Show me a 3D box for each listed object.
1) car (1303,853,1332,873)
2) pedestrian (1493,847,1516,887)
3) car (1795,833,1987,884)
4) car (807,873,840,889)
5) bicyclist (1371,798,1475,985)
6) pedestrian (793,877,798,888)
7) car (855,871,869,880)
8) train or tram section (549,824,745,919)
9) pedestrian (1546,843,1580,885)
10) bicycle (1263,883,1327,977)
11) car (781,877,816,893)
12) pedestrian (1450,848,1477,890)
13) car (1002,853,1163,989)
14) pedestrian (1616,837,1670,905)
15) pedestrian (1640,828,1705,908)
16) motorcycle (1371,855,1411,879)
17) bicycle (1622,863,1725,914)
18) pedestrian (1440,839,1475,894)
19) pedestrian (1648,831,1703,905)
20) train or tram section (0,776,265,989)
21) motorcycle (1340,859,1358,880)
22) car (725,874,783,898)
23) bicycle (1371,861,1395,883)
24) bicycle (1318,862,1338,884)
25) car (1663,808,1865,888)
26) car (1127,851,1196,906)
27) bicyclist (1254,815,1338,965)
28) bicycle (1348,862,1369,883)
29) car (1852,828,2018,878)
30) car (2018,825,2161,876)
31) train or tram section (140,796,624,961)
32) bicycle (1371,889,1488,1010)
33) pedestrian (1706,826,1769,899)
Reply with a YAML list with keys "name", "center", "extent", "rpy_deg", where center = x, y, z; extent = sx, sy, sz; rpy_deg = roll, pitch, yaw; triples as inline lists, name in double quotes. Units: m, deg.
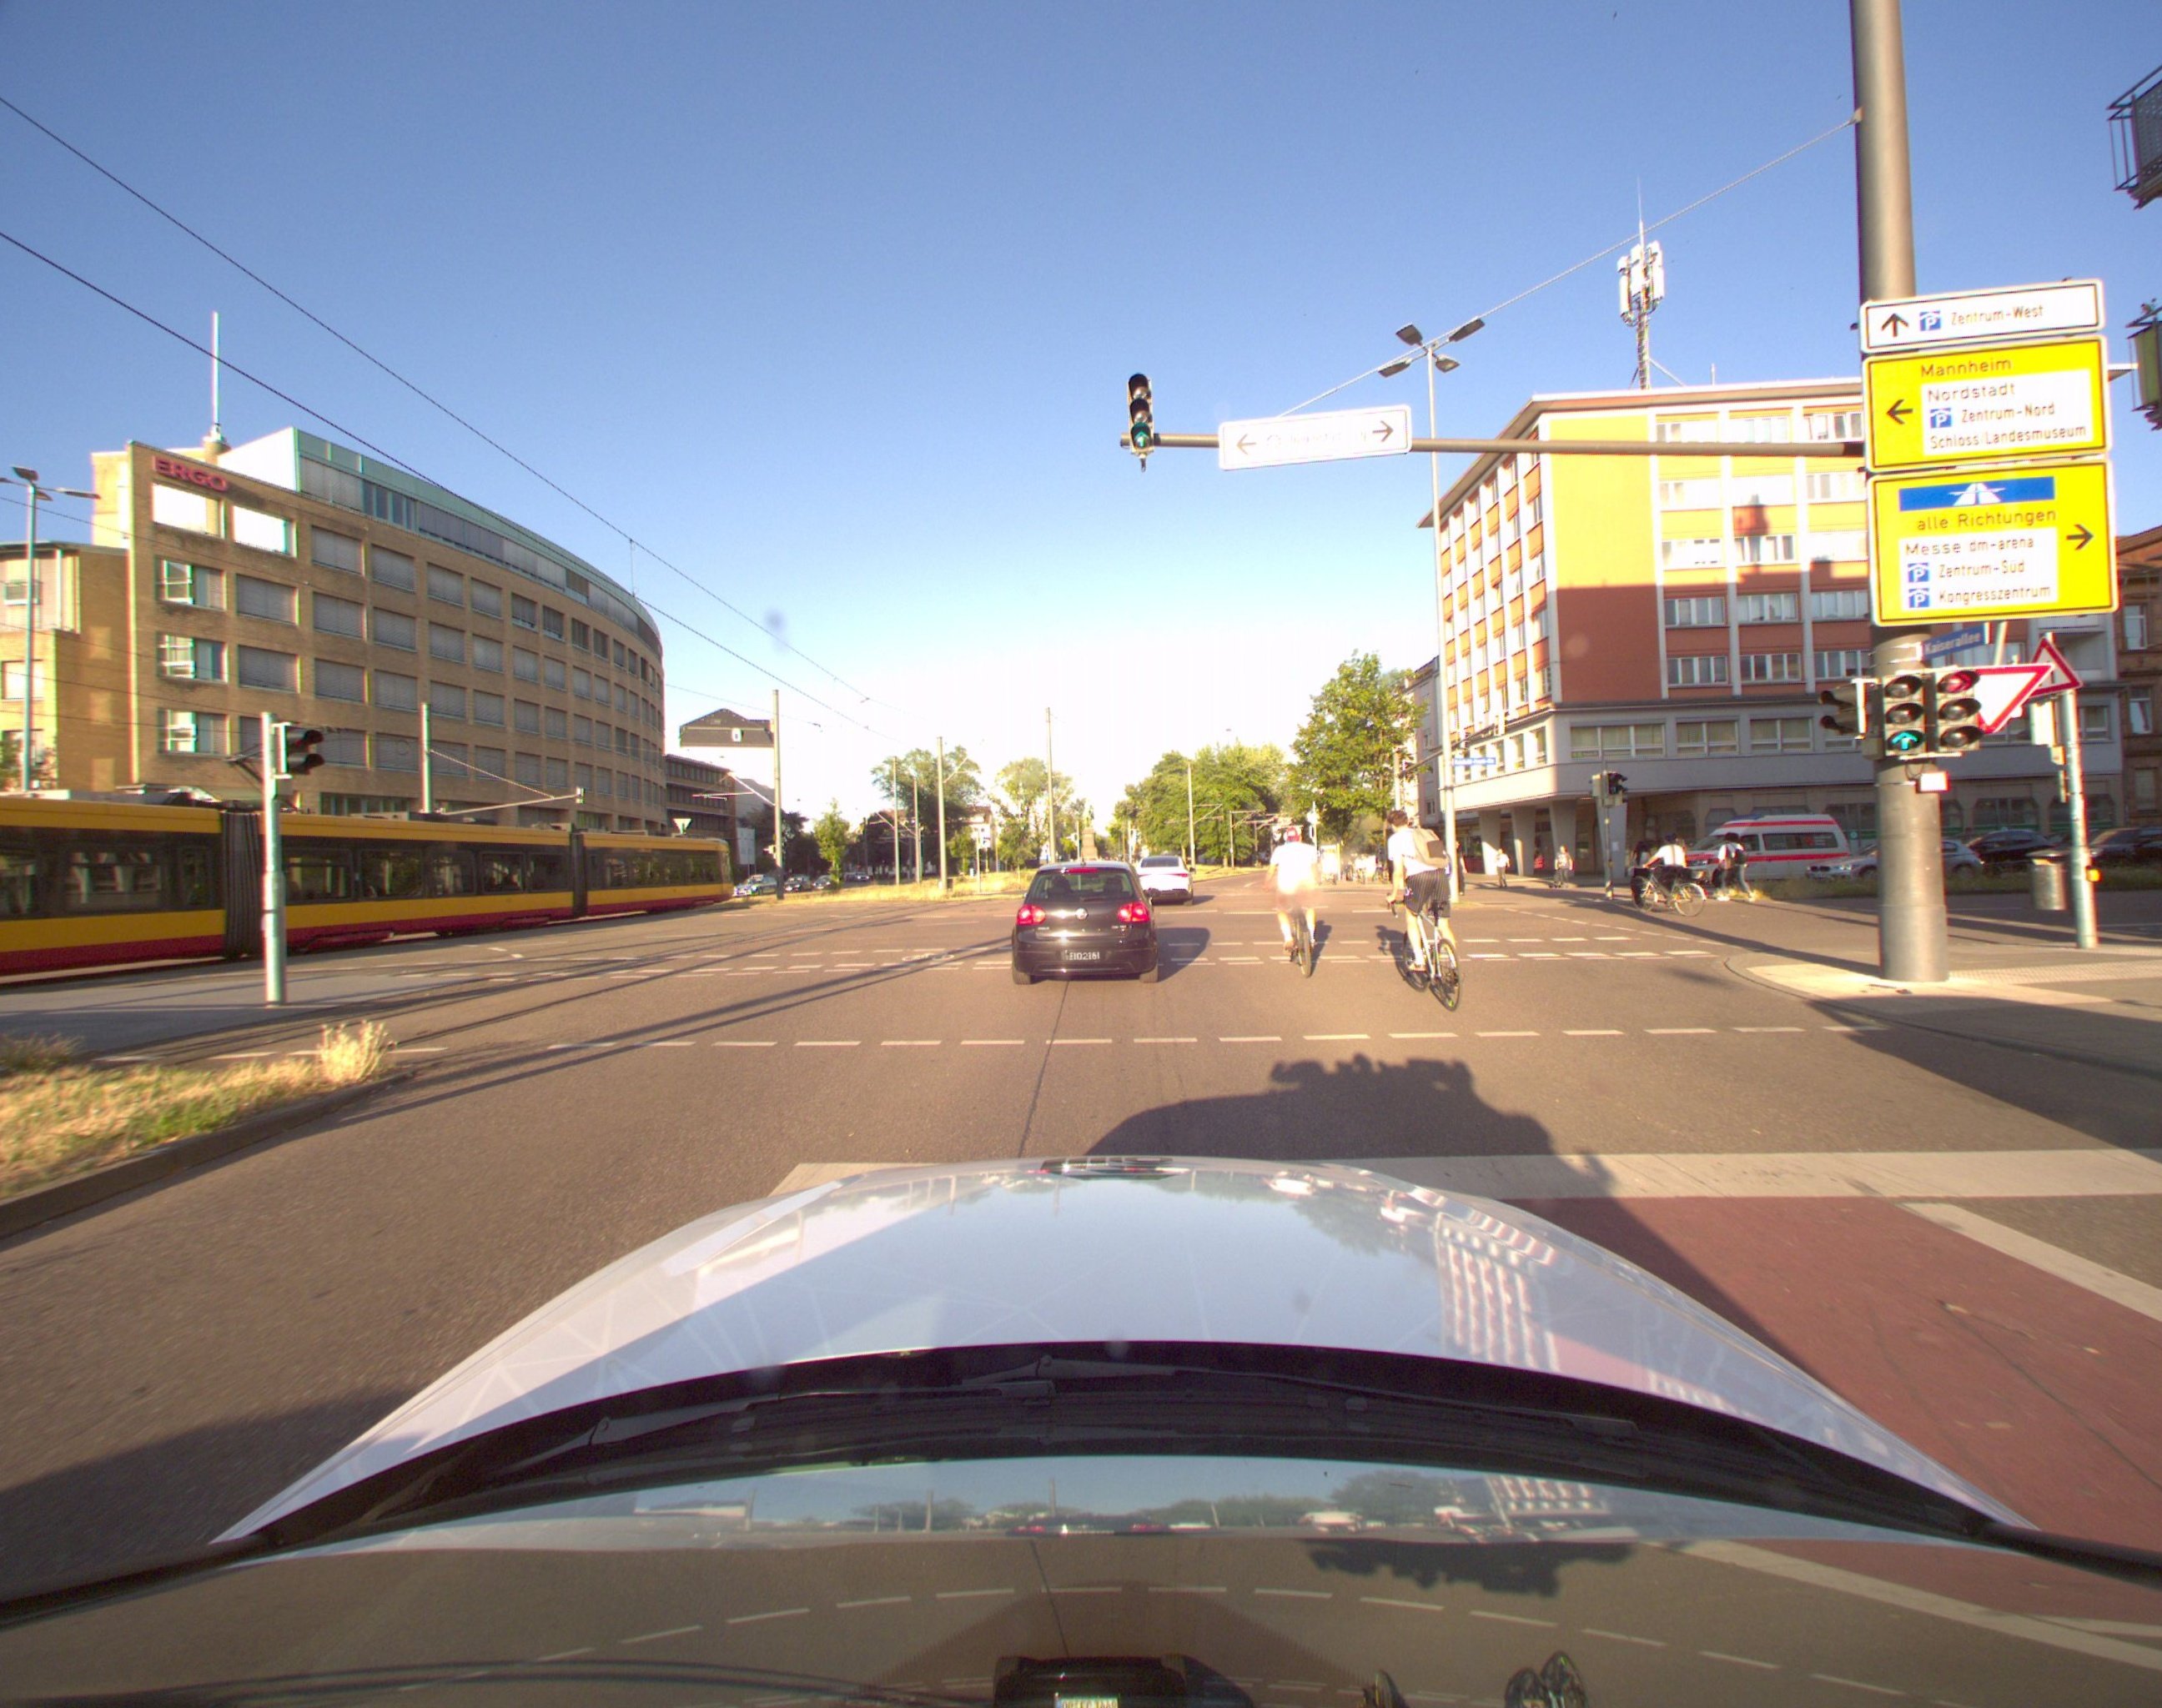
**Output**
- name: "car"
  center: [20.064, 0.742, 69.037]
  extent: [1.712, 1.472, 3.921]
  rpy_deg: [-5, -2, 25]
- name: "pedestrian"
  center: [18.470, 0.548, 35.556]
  extent: [0.566, 1.701, 0.813]
  rpy_deg: [-2, -1, 3]
- name: "car"
  center: [24.689, 0.160, 24.930]
  extent: [3.972, 1.376, 1.807]
  rpy_deg: [-2, -1, 2]
- name: "car"
  center: [-23.288, 2.433, 73.845]
  extent: [1.639, 1.281, 3.742]
  rpy_deg: [-2, 0, 2]
- name: "bicyclist"
  center: [3.509, 0.369, 8.446]
  extent: [0.670, 1.807, 0.995]
  rpy_deg: [-2, -1, 5]
- name: "pedestrian"
  center: [-37.829, 3.755, 107.764]
  extent: [0.412, 1.430, 0.485]
  rpy_deg: [-2, -1, 2]
- name: "car"
  center: [-36.584, 3.624, 135.958]
  extent: [1.777, 1.482, 4.277]
  rpy_deg: [-2, -1, -22]
- name: "train or tram section"
  center: [-18.733, 0.705, 36.357]
  extent: [2.763, 3.536, 10.573]
  rpy_deg: [-2, -1, 1]
- name: "pedestrian"
  center: [20.131, 0.430, 34.056]
  extent: [0.780, 1.701, 1.028]
  rpy_deg: [-2, -1, 3]
- name: "bicycle"
  center: [2.708, 0.921, 10.459]
  extent: [0.476, 1.028, 1.985]
  rpy_deg: [-2, -1, 6]
- name: "car"
  center: [-23.086, 2.492, 66.700]
  extent: [1.515, 1.153, 3.598]
  rpy_deg: [-2, 0, 0]
- name: "pedestrian"
  center: [14.827, 0.567, 31.594]
  extent: [0.678, 1.589, 0.748]
  rpy_deg: [-2, -1, 6]
- name: "car"
  center: [0.155, 0.761, 11.063]
  extent: [1.740, 1.461, 4.107]
  rpy_deg: [-1, -1, 4]
- name: "pedestrian"
  center: [12.889, 0.381, 18.691]
  extent: [0.679, 1.500, 0.747]
  rpy_deg: [-2, -1, 3]
- name: "pedestrian"
  center: [12.108, 0.294, 16.687]
  extent: [0.675, 1.590, 0.758]
  rpy_deg: [-1, -3, -11]
- name: "motorcycle"
  center: [18.437, 0.775, 48.473]
  extent: [2.031, 1.406, 0.762]
  rpy_deg: [-2, -1, 9]
- name: "bicycle"
  center: [12.123, 0.683, 16.740]
  extent: [0.520, 0.981, 1.843]
  rpy_deg: [-2, 0, -10]
- name: "pedestrian"
  center: [12.093, 0.392, 26.180]
  extent: [0.658, 1.704, 1.073]
  rpy_deg: [-2, -1, 7]
- name: "pedestrian"
  center: [13.694, 0.317, 18.774]
  extent: [0.679, 1.662, 0.747]
  rpy_deg: [-2, -1, 3]
- name: "train or tram section"
  center: [-19.390, 0.492, 11.163]
  extent: [2.763, 3.536, 13.255]
  rpy_deg: [-2, -1, 1]
- name: "motorcycle"
  center: [16.607, 0.976, 50.501]
  extent: [0.662, 1.242, 2.206]
  rpy_deg: [-2, -1, 8]
- name: "car"
  center: [-23.444, 2.252, 58.660]
  extent: [1.880, 1.480, 4.787]
  rpy_deg: [-2, -1, 4]
- name: "bicycle"
  center: [16.824, 1.000, 45.402]
  extent: [0.642, 1.158, 2.126]
  rpy_deg: [-2, 0, 4]
- name: "bicycle"
  center: [13.780, 1.041, 45.459]
  extent: [0.642, 1.126, 1.876]
  rpy_deg: [-2, 0, 4]
- name: "car"
  center: [23.395, -0.188, 28.049]
  extent: [5.230, 2.482, 1.926]
  rpy_deg: [-2, -1, 1]
- name: "car"
  center: [2.492, 0.690, 24.522]
  extent: [1.855, 1.441, 4.206]
  rpy_deg: [-2, -1, 8]
- name: "bicyclist"
  center: [2.728, 0.446, 10.437]
  extent: [0.822, 1.807, 1.059]
  rpy_deg: [-2, -1, 5]
- name: "bicycle"
  center: [15.480, 1.020, 45.452]
  extent: [0.642, 1.126, 1.876]
  rpy_deg: [-2, 0, 4]
- name: "car"
  center: [29.649, -0.025, 28.362]
  extent: [4.058, 1.571, 1.597]
  rpy_deg: [-2, 0, 0]
- name: "car"
  center: [32.088, -0.131, 25.201]
  extent: [3.970, 1.464, 1.789]
  rpy_deg: [-2, -1, 3]
- name: "train or tram section"
  center: [-19.043, 0.603, 24.461]
  extent: [2.763, 3.536, 13.255]
  rpy_deg: [-2, -1, 1]
- name: "bicycle"
  center: [3.512, 0.912, 8.370]
  extent: [0.572, 1.028, 1.860]
  rpy_deg: [-2, -1, 6]
- name: "pedestrian"
  center: [15.435, 0.199, 19.167]
  extent: [0.724, 1.662, 0.906]
  rpy_deg: [-2, -1, 3]
